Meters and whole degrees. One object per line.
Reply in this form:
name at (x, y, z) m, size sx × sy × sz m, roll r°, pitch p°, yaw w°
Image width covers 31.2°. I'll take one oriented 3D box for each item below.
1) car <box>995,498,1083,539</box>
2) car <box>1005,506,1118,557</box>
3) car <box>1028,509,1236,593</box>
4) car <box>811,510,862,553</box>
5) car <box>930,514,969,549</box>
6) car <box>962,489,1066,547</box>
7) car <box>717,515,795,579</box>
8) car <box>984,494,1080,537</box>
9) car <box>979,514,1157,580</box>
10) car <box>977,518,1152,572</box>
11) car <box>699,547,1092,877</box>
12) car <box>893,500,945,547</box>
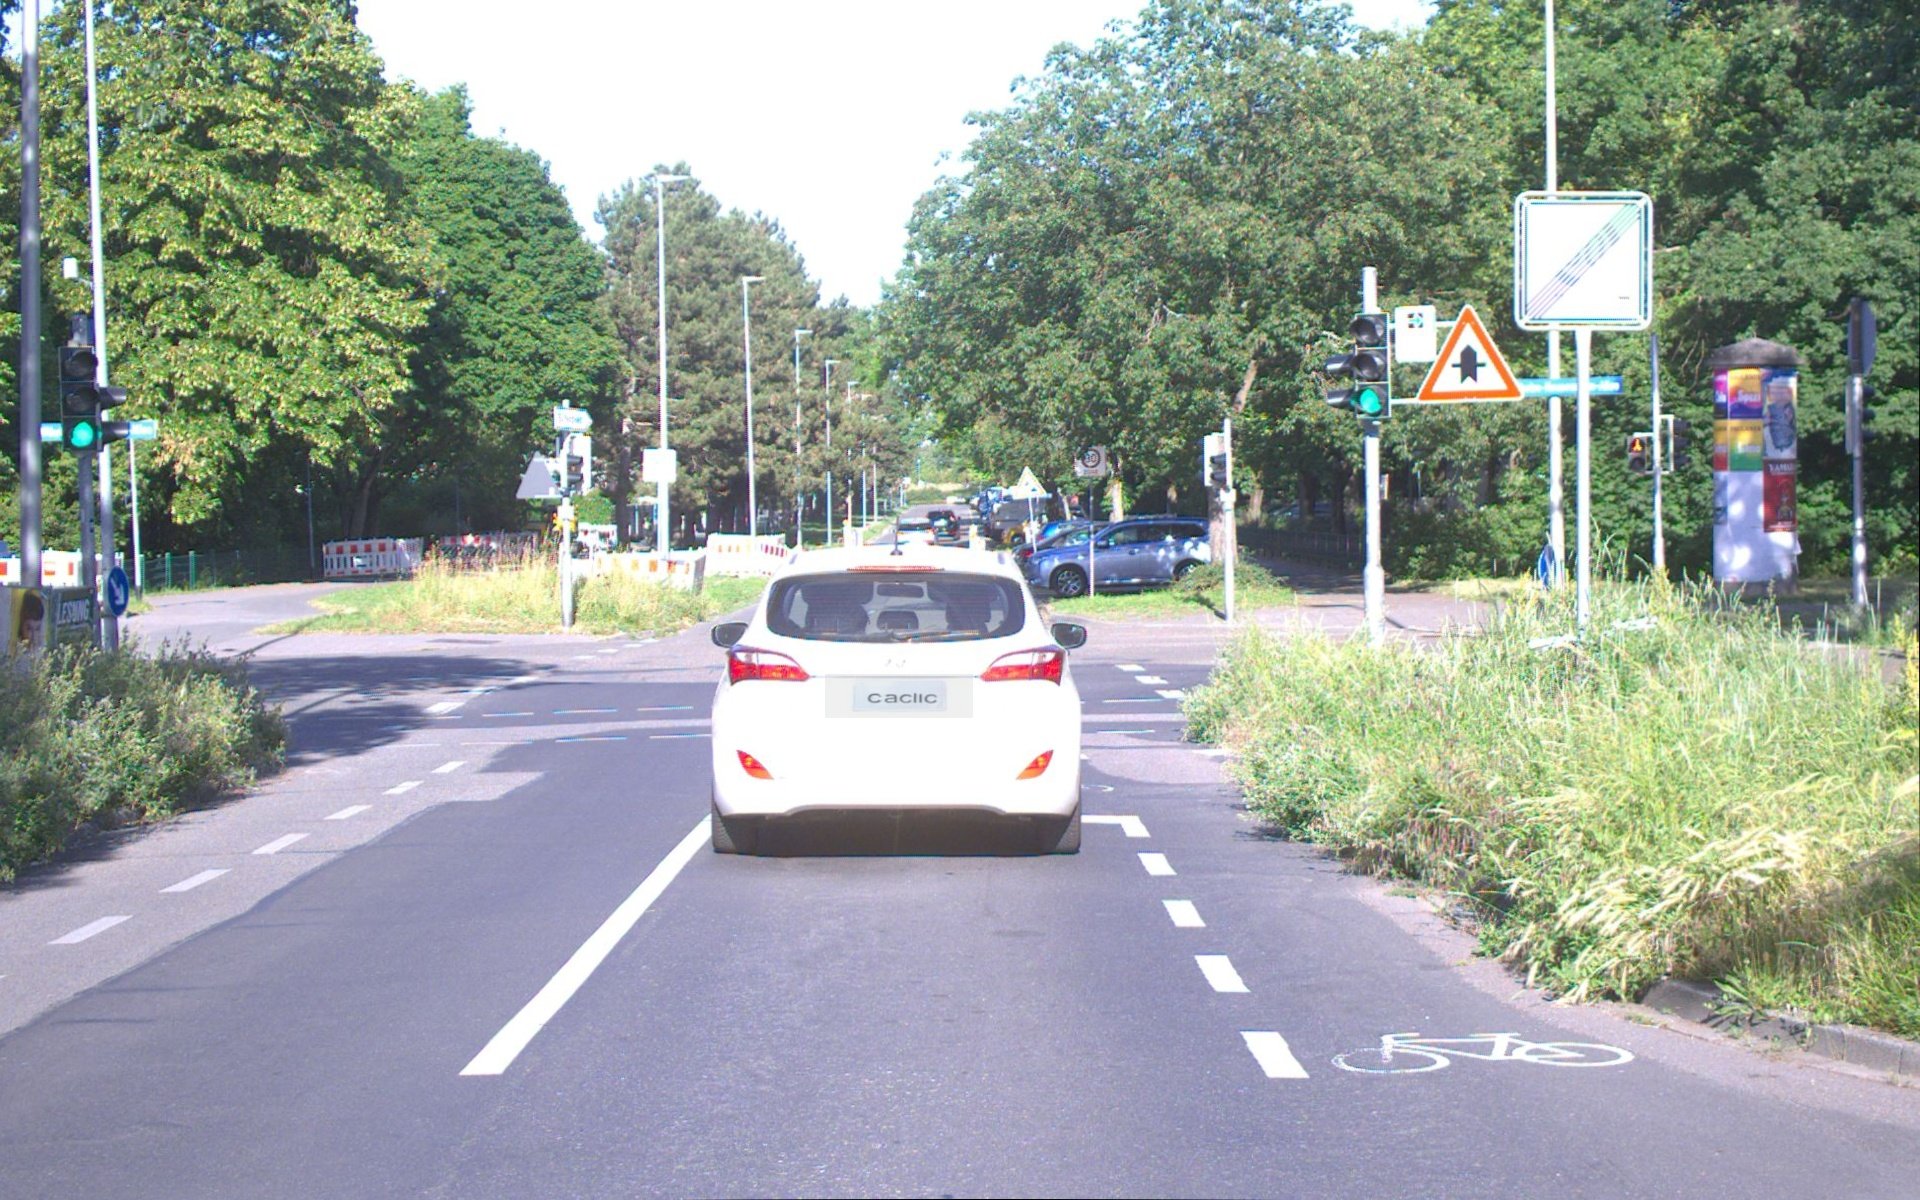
car at (3.477, -3.581, 152.039) m, size 3.819 × 1.761 × 1.863 m, roll 1°, pitch 1°, yaw 0°
car at (3.459, -2.346, 117.843) m, size 3.819 × 1.678 × 1.863 m, roll 1°, pitch 1°, yaw 0°
car at (3.784, -1.085, 75.782) m, size 4.499 × 1.776 × 1.855 m, roll -1°, pitch 1°, yaw 3°
car at (-5.323, -2.970, 148.342) m, size 1.993 × 1.809 × 4.000 m, roll 1°, pitch 1°, yaw 0°
car at (-0.543, -3.619, 181.066) m, size 1.993 × 1.809 × 4.000 m, roll 1°, pitch 1°, yaw 0°
car at (2.002, -3.049, 127.884) m, size 3.819 × 2.091 × 1.863 m, roll 1°, pitch 1°, yaw 0°
car at (-5.921, -1.543, 100.229) m, size 1.993 × 1.809 × 4.000 m, roll 1°, pitch 1°, yaw 0°
car at (3.249, -3.807, 155.186) m, size 4.302 × 1.901 × 1.863 m, roll 1°, pitch 1°, yaw 0°
car at (2.775, -1.365, 87.922) m, size 4.499 × 1.624 × 1.855 m, roll -1°, pitch 1°, yaw 3°
car at (3.351, -1.783, 111.260) m, size 5.614 × 1.678 × 1.948 m, roll 1°, pitch 1°, yaw 0°
car at (-0.292, 0.480, 17.677) m, size 1.789 × 1.458 × 3.964 m, roll 0°, pitch 2°, yaw 0°
car at (-1.673, -3.127, 140.505) m, size 1.993 × 1.809 × 4.000 m, roll 2°, pitch 1°, yaw 0°
